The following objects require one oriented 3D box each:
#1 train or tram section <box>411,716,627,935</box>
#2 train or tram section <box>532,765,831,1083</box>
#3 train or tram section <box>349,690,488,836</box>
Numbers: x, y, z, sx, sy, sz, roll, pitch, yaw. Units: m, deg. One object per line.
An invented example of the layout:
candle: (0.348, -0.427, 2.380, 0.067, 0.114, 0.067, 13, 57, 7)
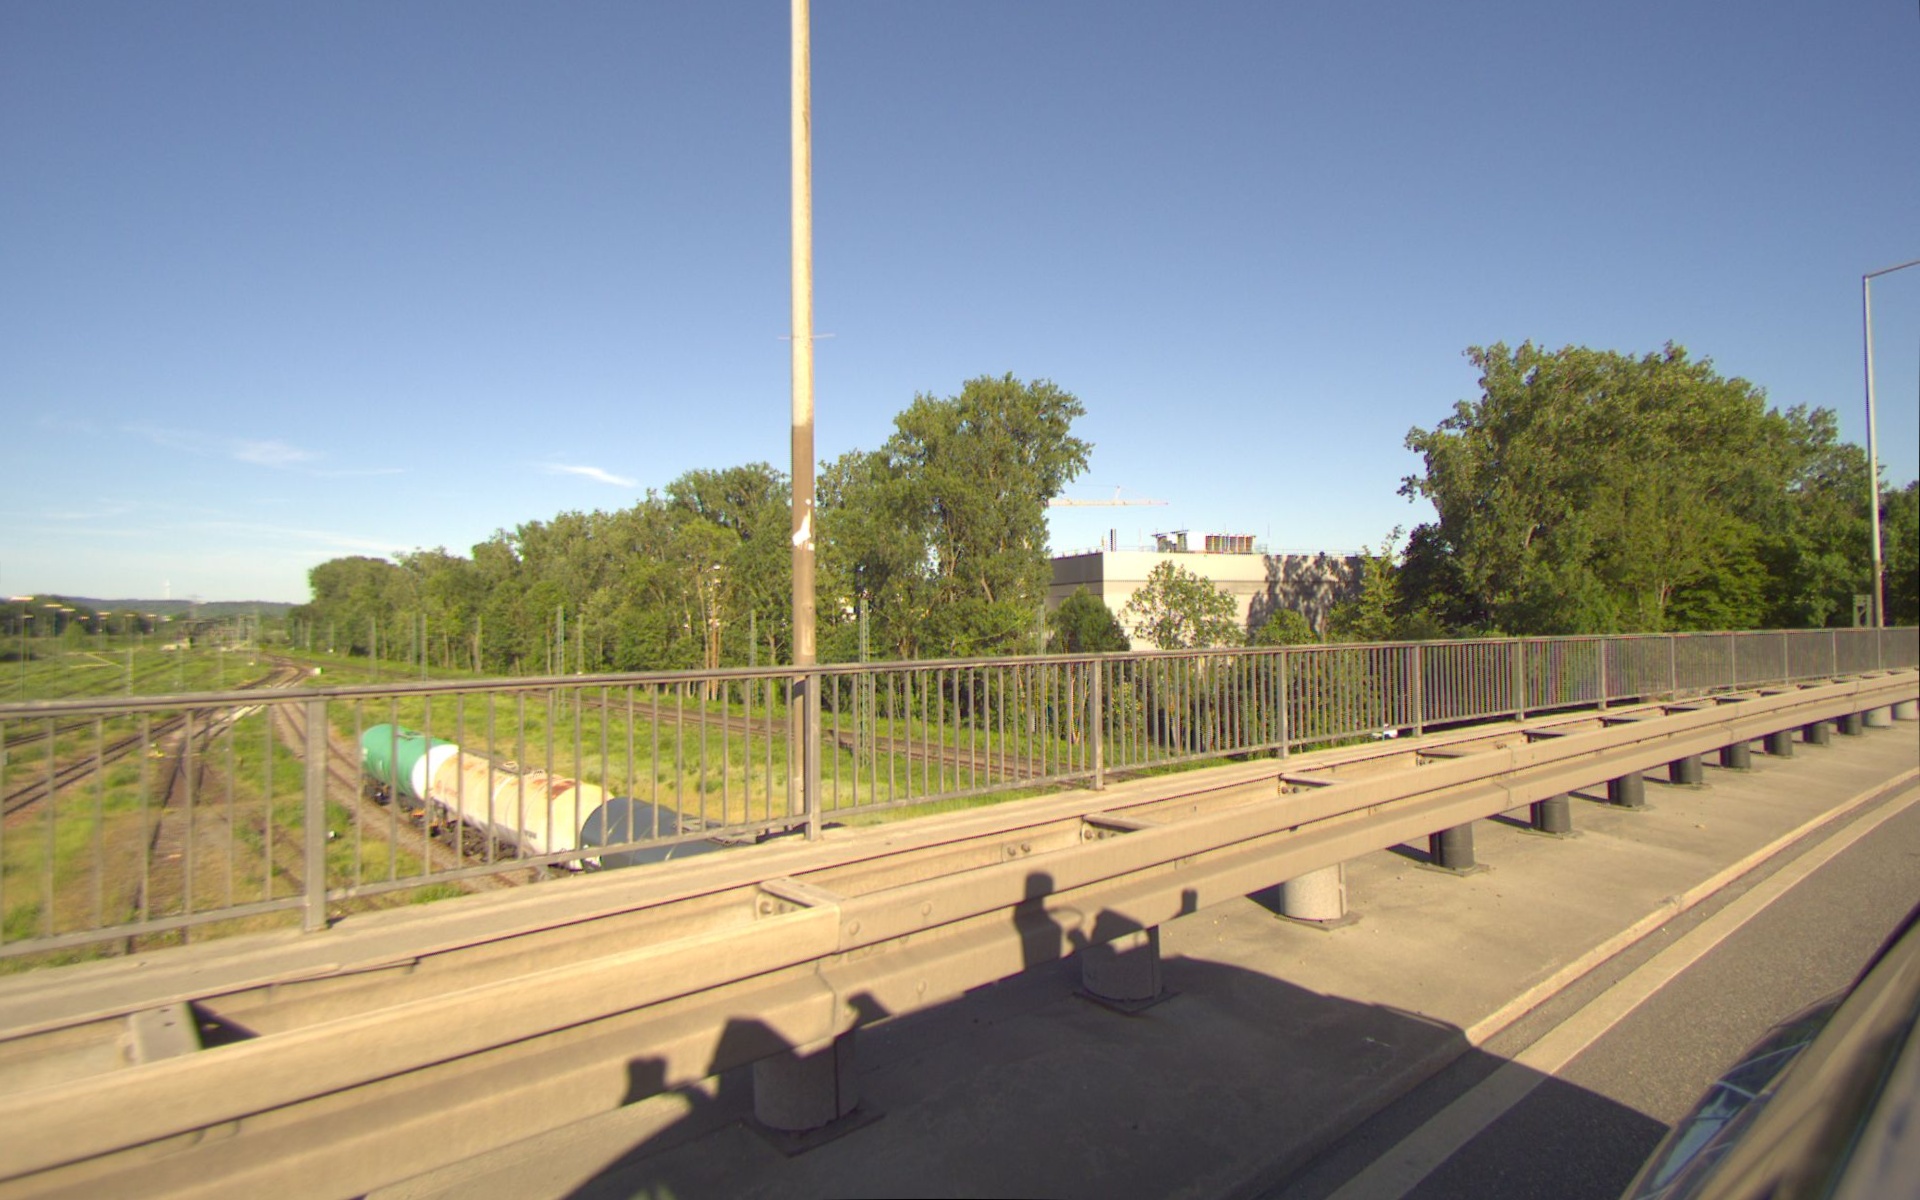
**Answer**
train or tram section: (-18.561, 8.389, 41.303, 3.278, 5.328, 16.857, 0, 1, -41)
train or tram section: (-8.812, 8.629, 29.951, 3.278, 5.331, 13.066, 0, 1, -41)
train or tram section: (-28.947, 8.132, 53.468, 3.278, 5.248, 15.157, 0, 1, -41)
